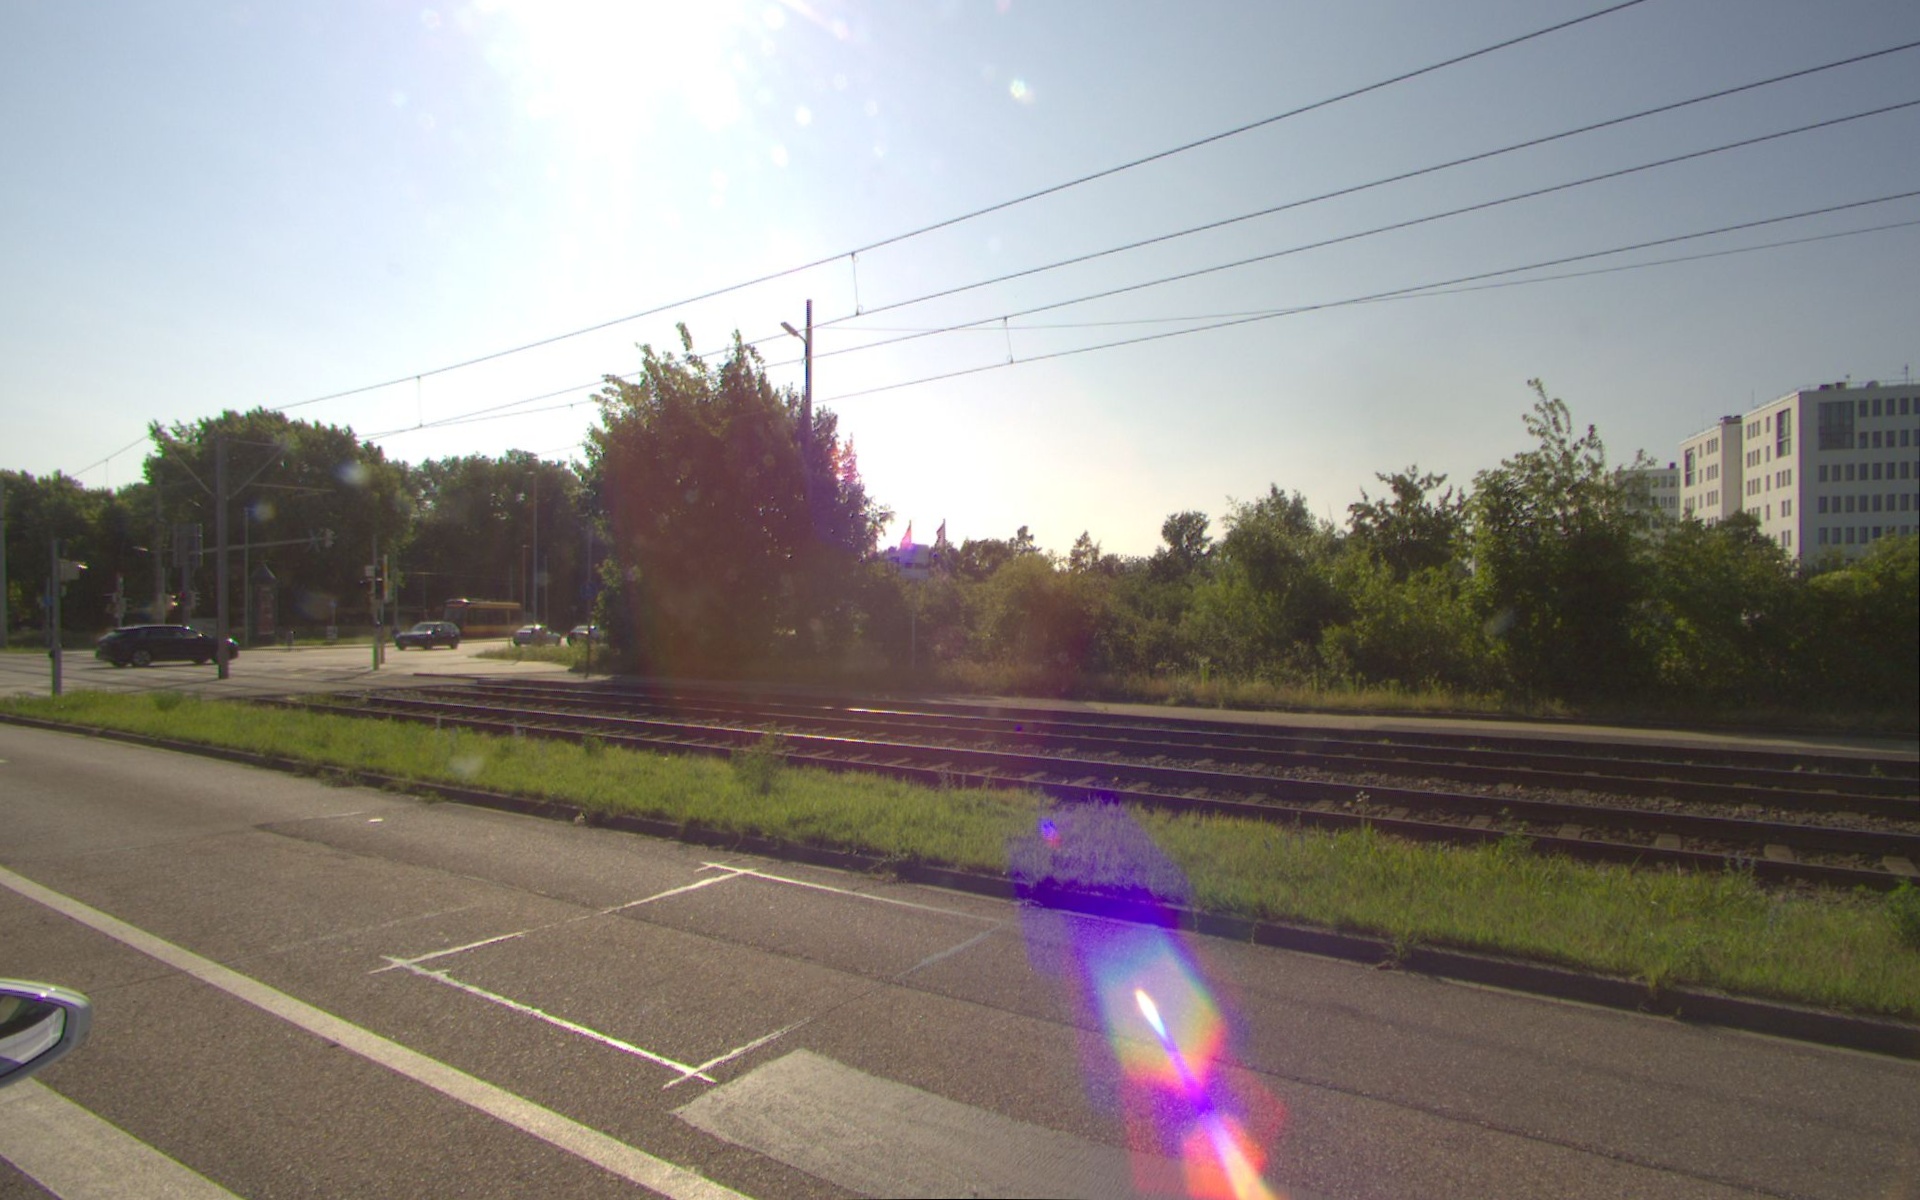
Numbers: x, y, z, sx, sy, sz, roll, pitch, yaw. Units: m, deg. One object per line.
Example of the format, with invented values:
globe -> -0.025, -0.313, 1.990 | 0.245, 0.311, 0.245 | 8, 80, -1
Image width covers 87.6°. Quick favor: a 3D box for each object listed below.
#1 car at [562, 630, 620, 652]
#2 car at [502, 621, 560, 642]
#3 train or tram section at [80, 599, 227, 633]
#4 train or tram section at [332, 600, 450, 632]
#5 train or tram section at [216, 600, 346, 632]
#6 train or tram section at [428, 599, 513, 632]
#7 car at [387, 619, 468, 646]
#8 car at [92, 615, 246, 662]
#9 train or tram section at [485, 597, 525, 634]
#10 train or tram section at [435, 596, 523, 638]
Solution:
car -> -25.021, 2.778, 68.050 | 1.961, 1.371, 4.408 | 0, -1, 6
car -> -28.691, 2.106, 67.147 | 1.961, 1.371, 4.410 | 0, -1, 0
train or tram section -> -88.976, 1.752, 110.814 | 12.249, 3.626, 3.041 | 0, -1, -27
train or tram section -> -66.498, 1.880, 117.227 | 11.992, 3.626, 3.054 | 0, -1, -1
train or tram section -> -78.212, 1.855, 115.626 | 12.027, 3.626, 3.045 | 0, -1, -22
train or tram section -> -55.555, 1.742, 113.447 | 12.061, 3.626, 3.037 | -1, -1, 34
car -> -31.893, 1.925, 60.129 | 2.005, 1.583, 4.863 | 0, -1, 5
car -> -31.606, 1.500, 40.176 | 1.623, 1.745, 4.604 | -2, -1, 27
train or tram section -> -47.648, 1.624, 104.615 | 3.009, 3.626, 12.174 | 0, -1, -28
train or tram section -> -44.473, 1.567, 93.181 | 2.995, 3.626, 11.853 | 0, -1, -3
